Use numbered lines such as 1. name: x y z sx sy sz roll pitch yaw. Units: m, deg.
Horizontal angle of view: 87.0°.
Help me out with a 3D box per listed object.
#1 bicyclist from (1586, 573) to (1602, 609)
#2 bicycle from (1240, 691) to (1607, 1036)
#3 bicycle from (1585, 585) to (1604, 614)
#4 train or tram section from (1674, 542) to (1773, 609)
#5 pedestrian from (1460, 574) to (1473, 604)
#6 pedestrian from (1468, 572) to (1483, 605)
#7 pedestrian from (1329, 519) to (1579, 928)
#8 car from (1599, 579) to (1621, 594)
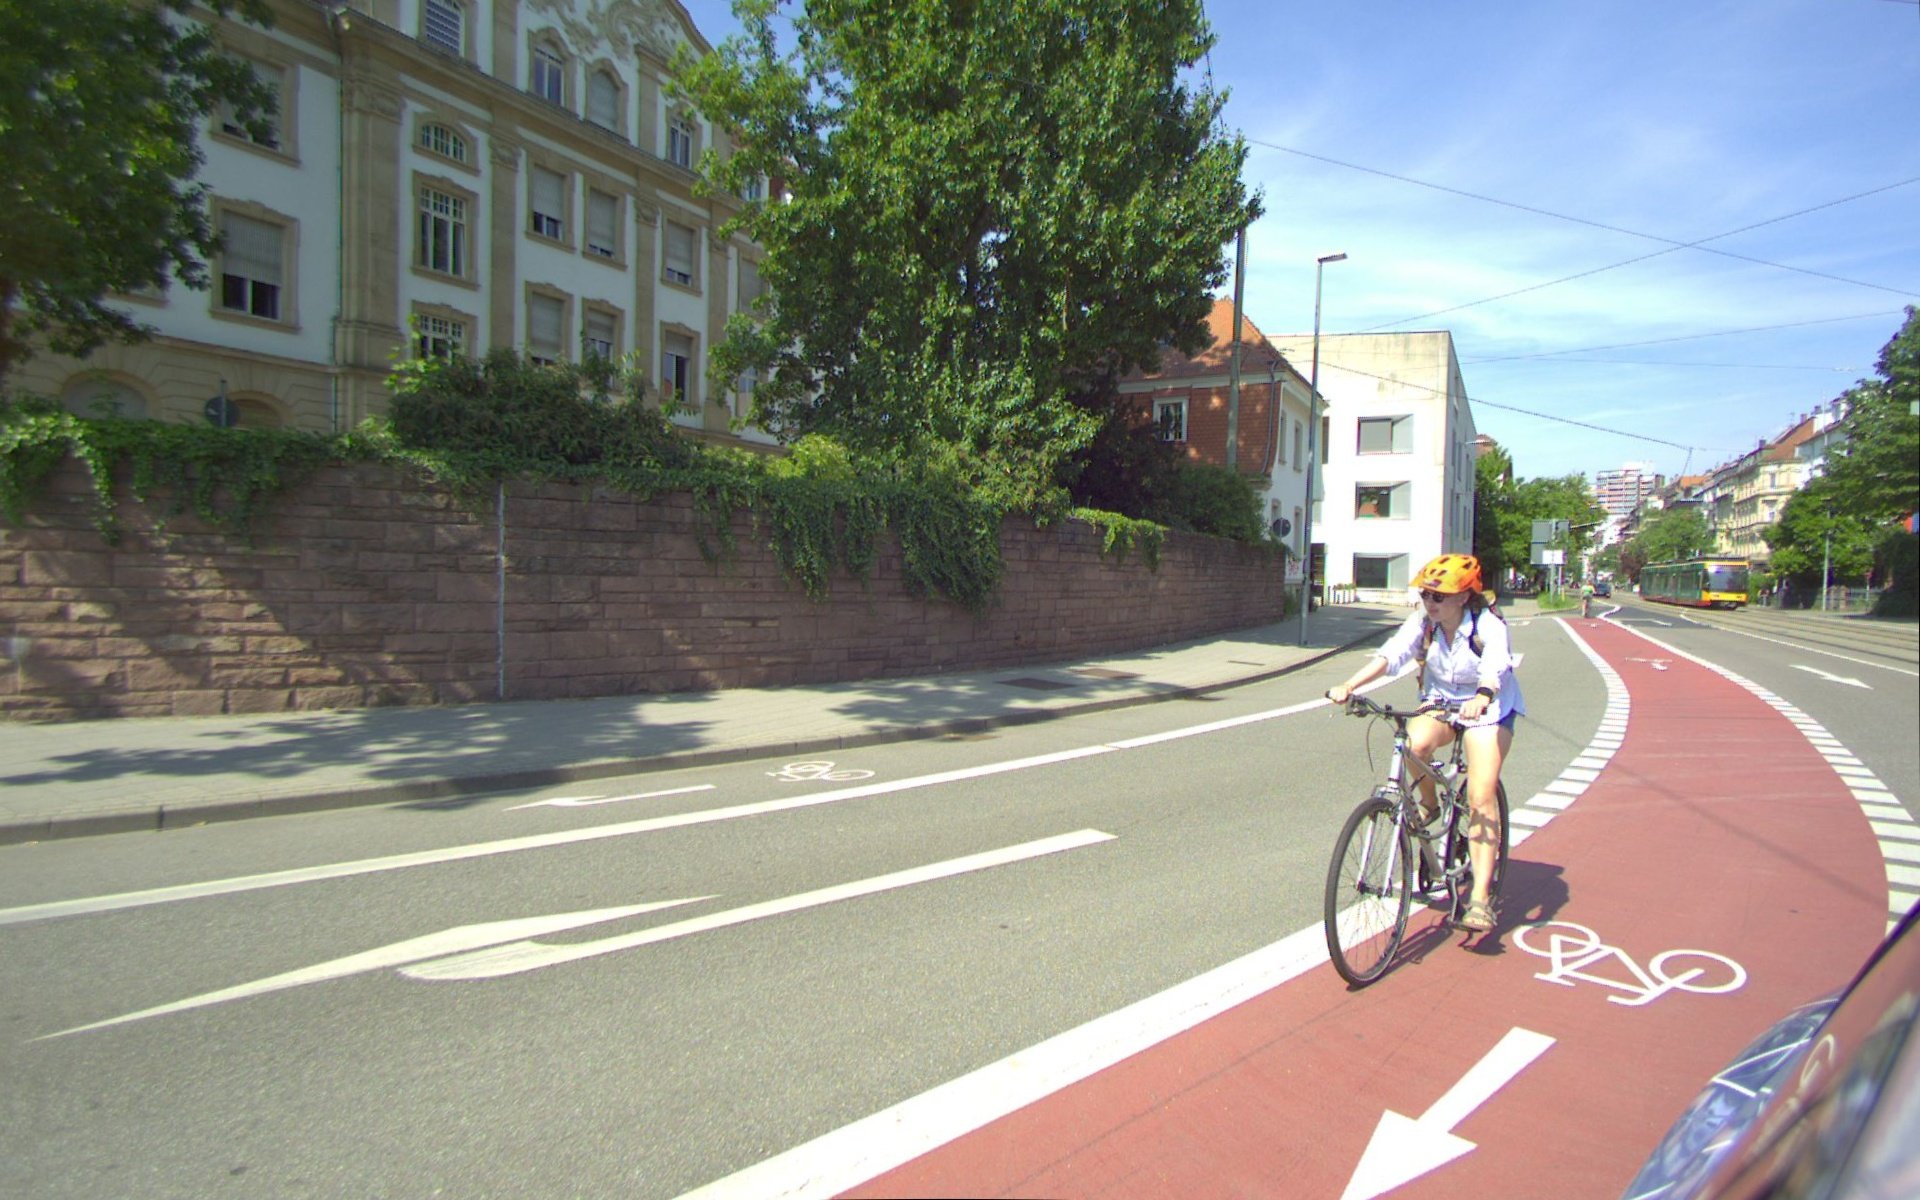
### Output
1. bicyclist: 28.258 -0.398 45.080 0.584 1.567 0.921 0 0 33
2. bicycle: 1.985 0.934 4.163 1.993 0.943 0.597 0 1 -41
3. bicycle: 28.221 -0.037 45.039 0.681 1.237 2.162 2 2 32
4. train or tram section: 49.964 -1.625 66.667 3.189 3.908 14.436 3 2 29
5. pedestrian: 27.169 -0.619 54.330 0.545 1.587 0.922 2 2 29
6. pedestrian: 27.534 -0.620 54.048 0.645 1.728 0.704 2 2 29
7. pedestrian: 2.073 0.440 4.221 0.996 1.484 0.584 0 1 -41
8. car: 64.723 -1.339 100.756 1.791 1.393 4.225 3 3 34
